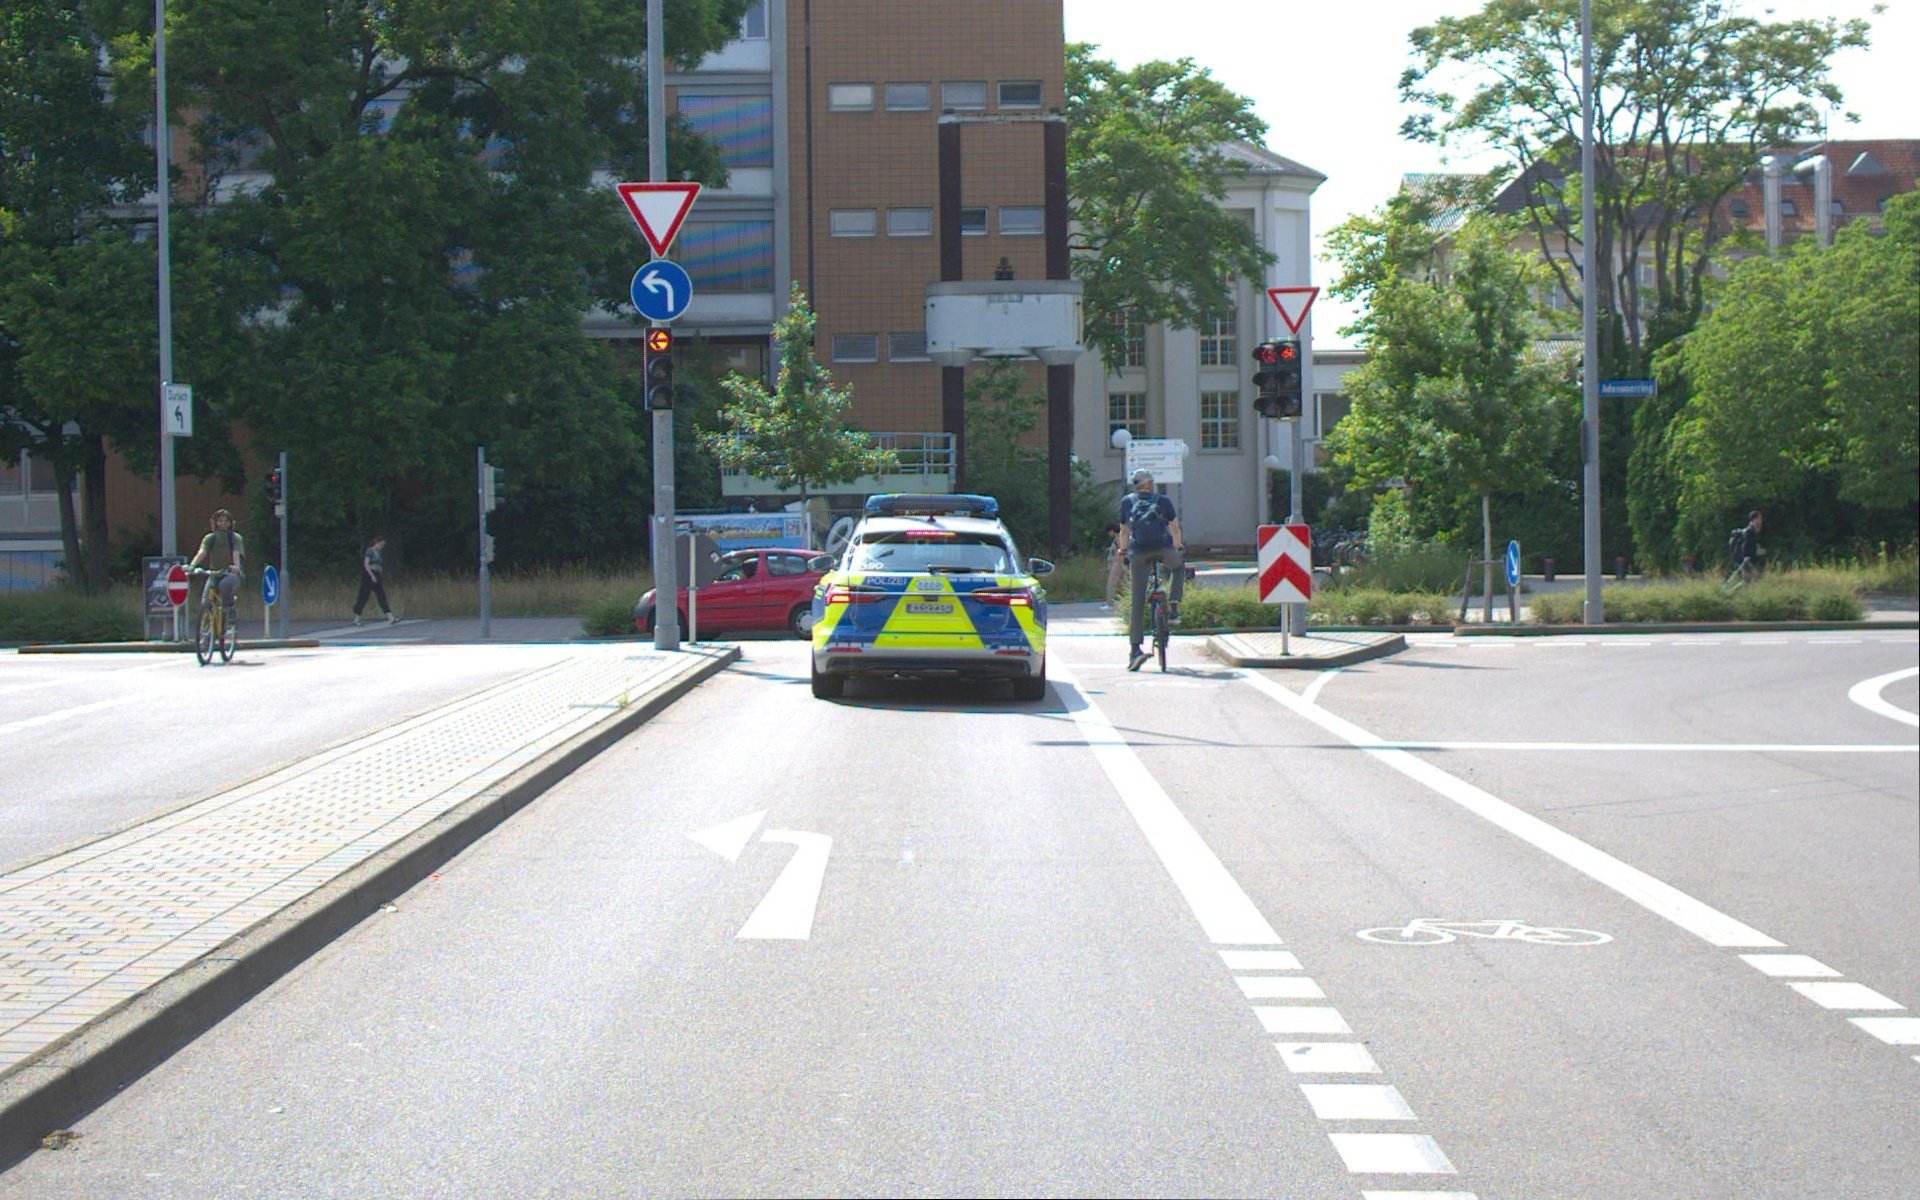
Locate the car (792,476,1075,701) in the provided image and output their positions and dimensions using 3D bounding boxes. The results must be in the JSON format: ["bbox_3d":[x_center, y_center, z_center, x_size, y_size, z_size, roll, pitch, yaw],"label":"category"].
[{"bbox_3d":[-0.223,-0.135,28.151,2.130,1.678,4.103,1,1,-1],"label":"car"}]

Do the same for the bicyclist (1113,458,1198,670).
[{"bbox_3d":[1.848,-0.353,32.525,0.718,1.966,0.839,-1,2,-1],"label":"bicyclist"}]

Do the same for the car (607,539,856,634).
[{"bbox_3d":[-3.716,-0.226,56.129,3.725,1.451,1.625,-1,1,12],"label":"car"}]

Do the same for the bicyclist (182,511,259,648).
[{"bbox_3d":[-8.115,-0.232,37.729,0.634,1.465,0.839,-1,2,0],"label":"bicyclist"}]

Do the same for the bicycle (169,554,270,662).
[{"bbox_3d":[-8.110,0.071,37.719,0.634,1.080,2.191,-1,2,-1],"label":"bicycle"}]

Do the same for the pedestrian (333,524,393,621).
[{"bbox_3d":[-11.781,-0.547,67.829,0.943,1.876,0.908,-1,1,3],"label":"pedestrian"}]

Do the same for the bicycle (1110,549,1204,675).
[{"bbox_3d":[1.851,0.094,32.552,0.720,1.080,2.191,-1,2,-1],"label":"bicycle"}]
